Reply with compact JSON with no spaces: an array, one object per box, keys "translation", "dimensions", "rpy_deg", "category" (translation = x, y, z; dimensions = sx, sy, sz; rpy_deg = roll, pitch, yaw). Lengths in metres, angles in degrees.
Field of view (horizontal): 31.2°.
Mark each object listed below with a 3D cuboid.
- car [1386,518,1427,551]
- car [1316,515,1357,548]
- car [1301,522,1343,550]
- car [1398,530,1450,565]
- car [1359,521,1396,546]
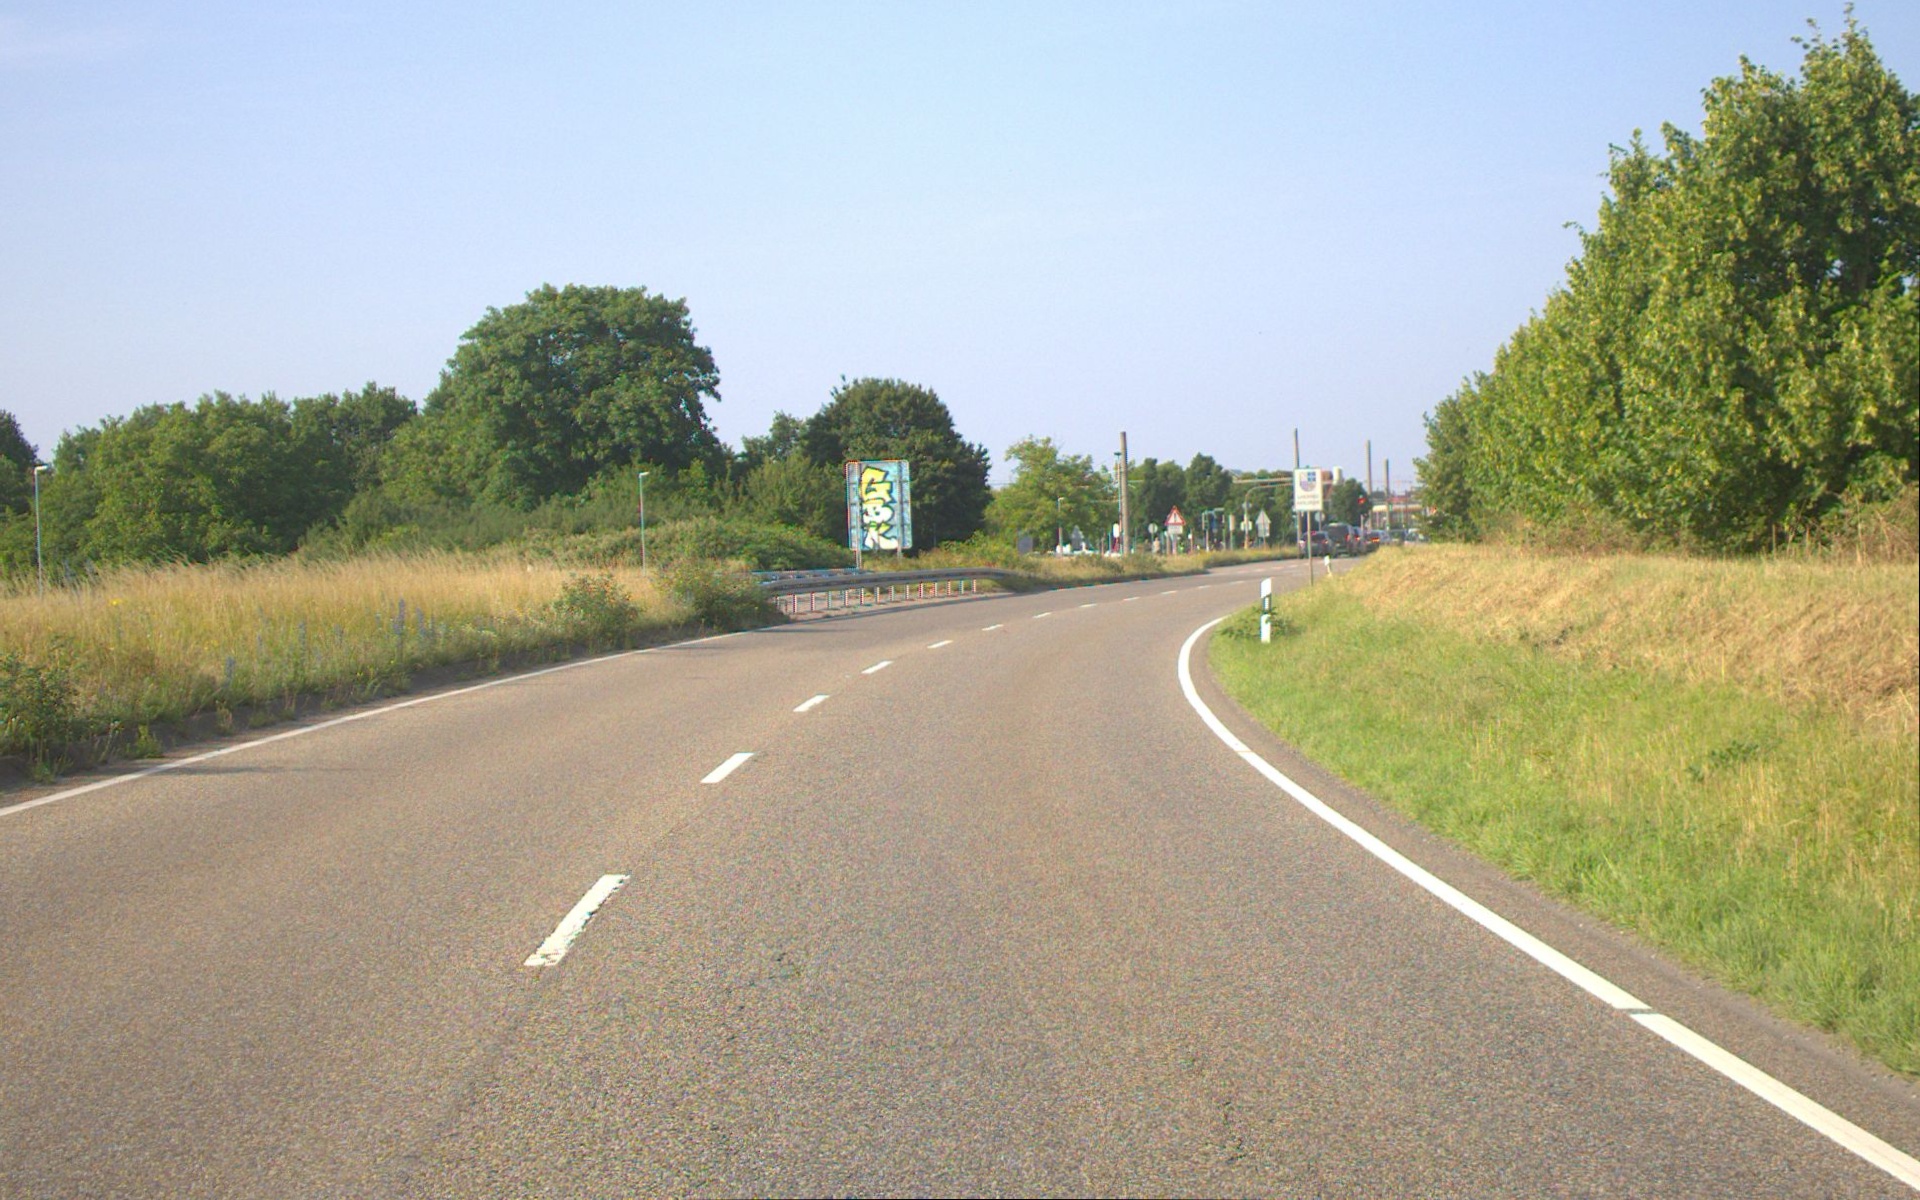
[{"translation":[29.673,-4.364,228.443],"dimensions":[1.995,2.007,4.833],"rpy_deg":[-1,-1,15],"category":"car"},{"translation":[21.295,-3.875,194.094],"dimensions":[1.733,1.849,4.517],"rpy_deg":[-1,1,13],"category":"car"},{"translation":[19.741,-3.516,187.441],"dimensions":[1.733,1.451,4.517],"rpy_deg":[-1,1,13],"category":"car"},{"translation":[21.503,-2.440,159.119],"dimensions":[1.995,1.546,3.998],"rpy_deg":[-1,1,13],"category":"car"},{"translation":[25.635,-4.090,211.090],"dimensions":[1.771,1.466,4.013],"rpy_deg":[-1,1,13],"category":"car"}]
